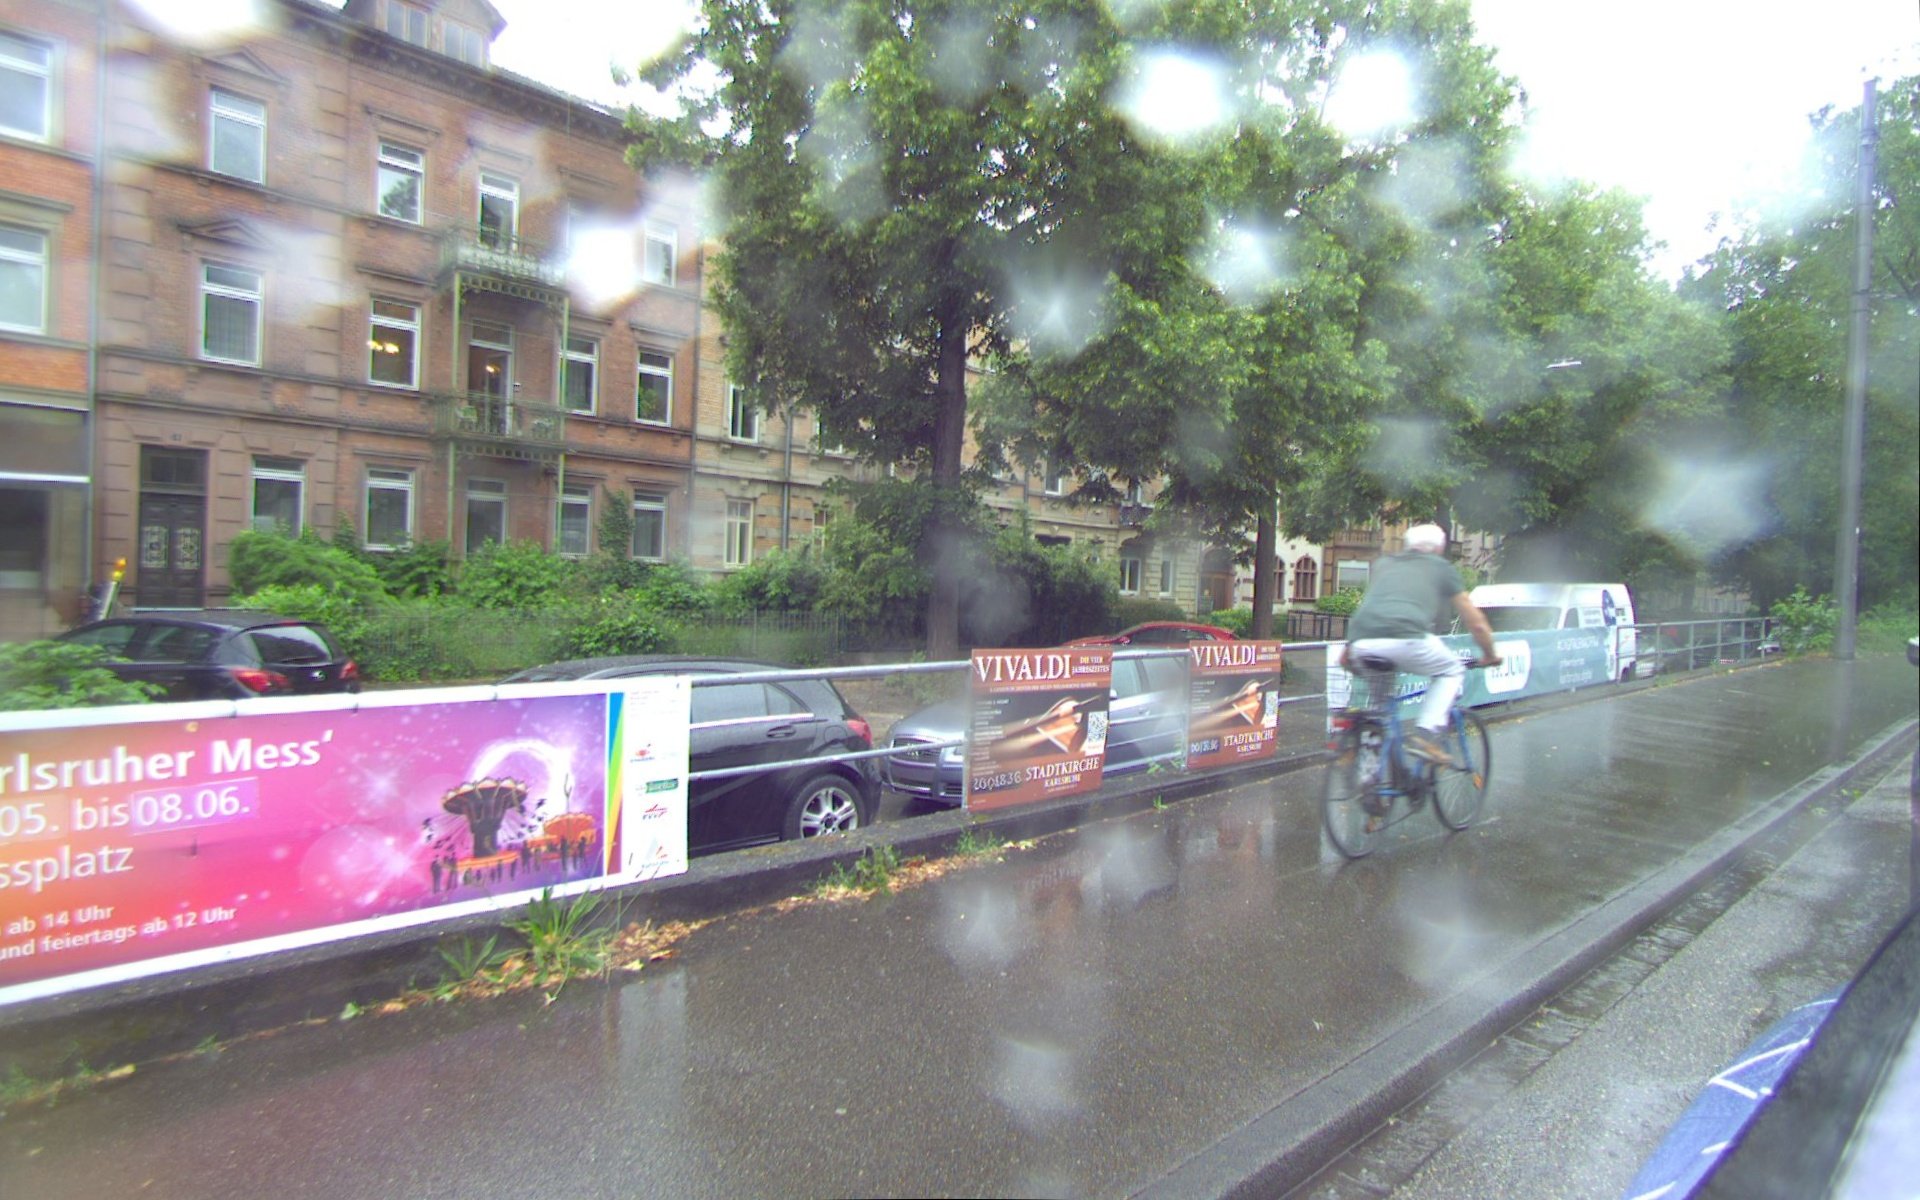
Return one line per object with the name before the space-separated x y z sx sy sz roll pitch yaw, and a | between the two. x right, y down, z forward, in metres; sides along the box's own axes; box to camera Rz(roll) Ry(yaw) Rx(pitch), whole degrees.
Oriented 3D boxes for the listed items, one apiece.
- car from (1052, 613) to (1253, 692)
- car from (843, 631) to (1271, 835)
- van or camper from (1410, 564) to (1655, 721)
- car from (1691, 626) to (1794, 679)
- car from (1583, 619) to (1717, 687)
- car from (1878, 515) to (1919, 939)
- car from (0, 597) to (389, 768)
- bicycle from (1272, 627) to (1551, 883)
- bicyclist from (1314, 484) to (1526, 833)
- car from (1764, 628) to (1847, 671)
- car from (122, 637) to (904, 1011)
car | 4.319 1.118 22.619 4.230 1.488 1.700 2 0 18
car | 1.085 1.086 9.820 4.141 1.488 1.730 1 0 -41
van or camper | 11.305 0.728 19.740 5.991 2.624 2.330 1 0 -42
car | 23.426 1.509 30.260 3.930 1.389 1.702 0 0 -41
car | 16.637 1.204 24.327 4.142 1.365 1.629 0 1 -41
car | 6.085 0.554 4.772 4.595 1.667 1.912 1 0 -39
car | -8.567 0.782 10.949 3.940 1.527 1.853 1 0 13
bicycle | 2.478 0.719 5.435 0.738 1.086 1.836 3 1 45
bicyclist | 2.468 0.274 5.419 0.736 1.676 0.863 2 1 44
car | 32.118 1.835 38.412 3.929 1.473 1.808 2 0 -41
car | -2.532 1.030 6.342 4.142 1.482 1.749 1 0 -41
